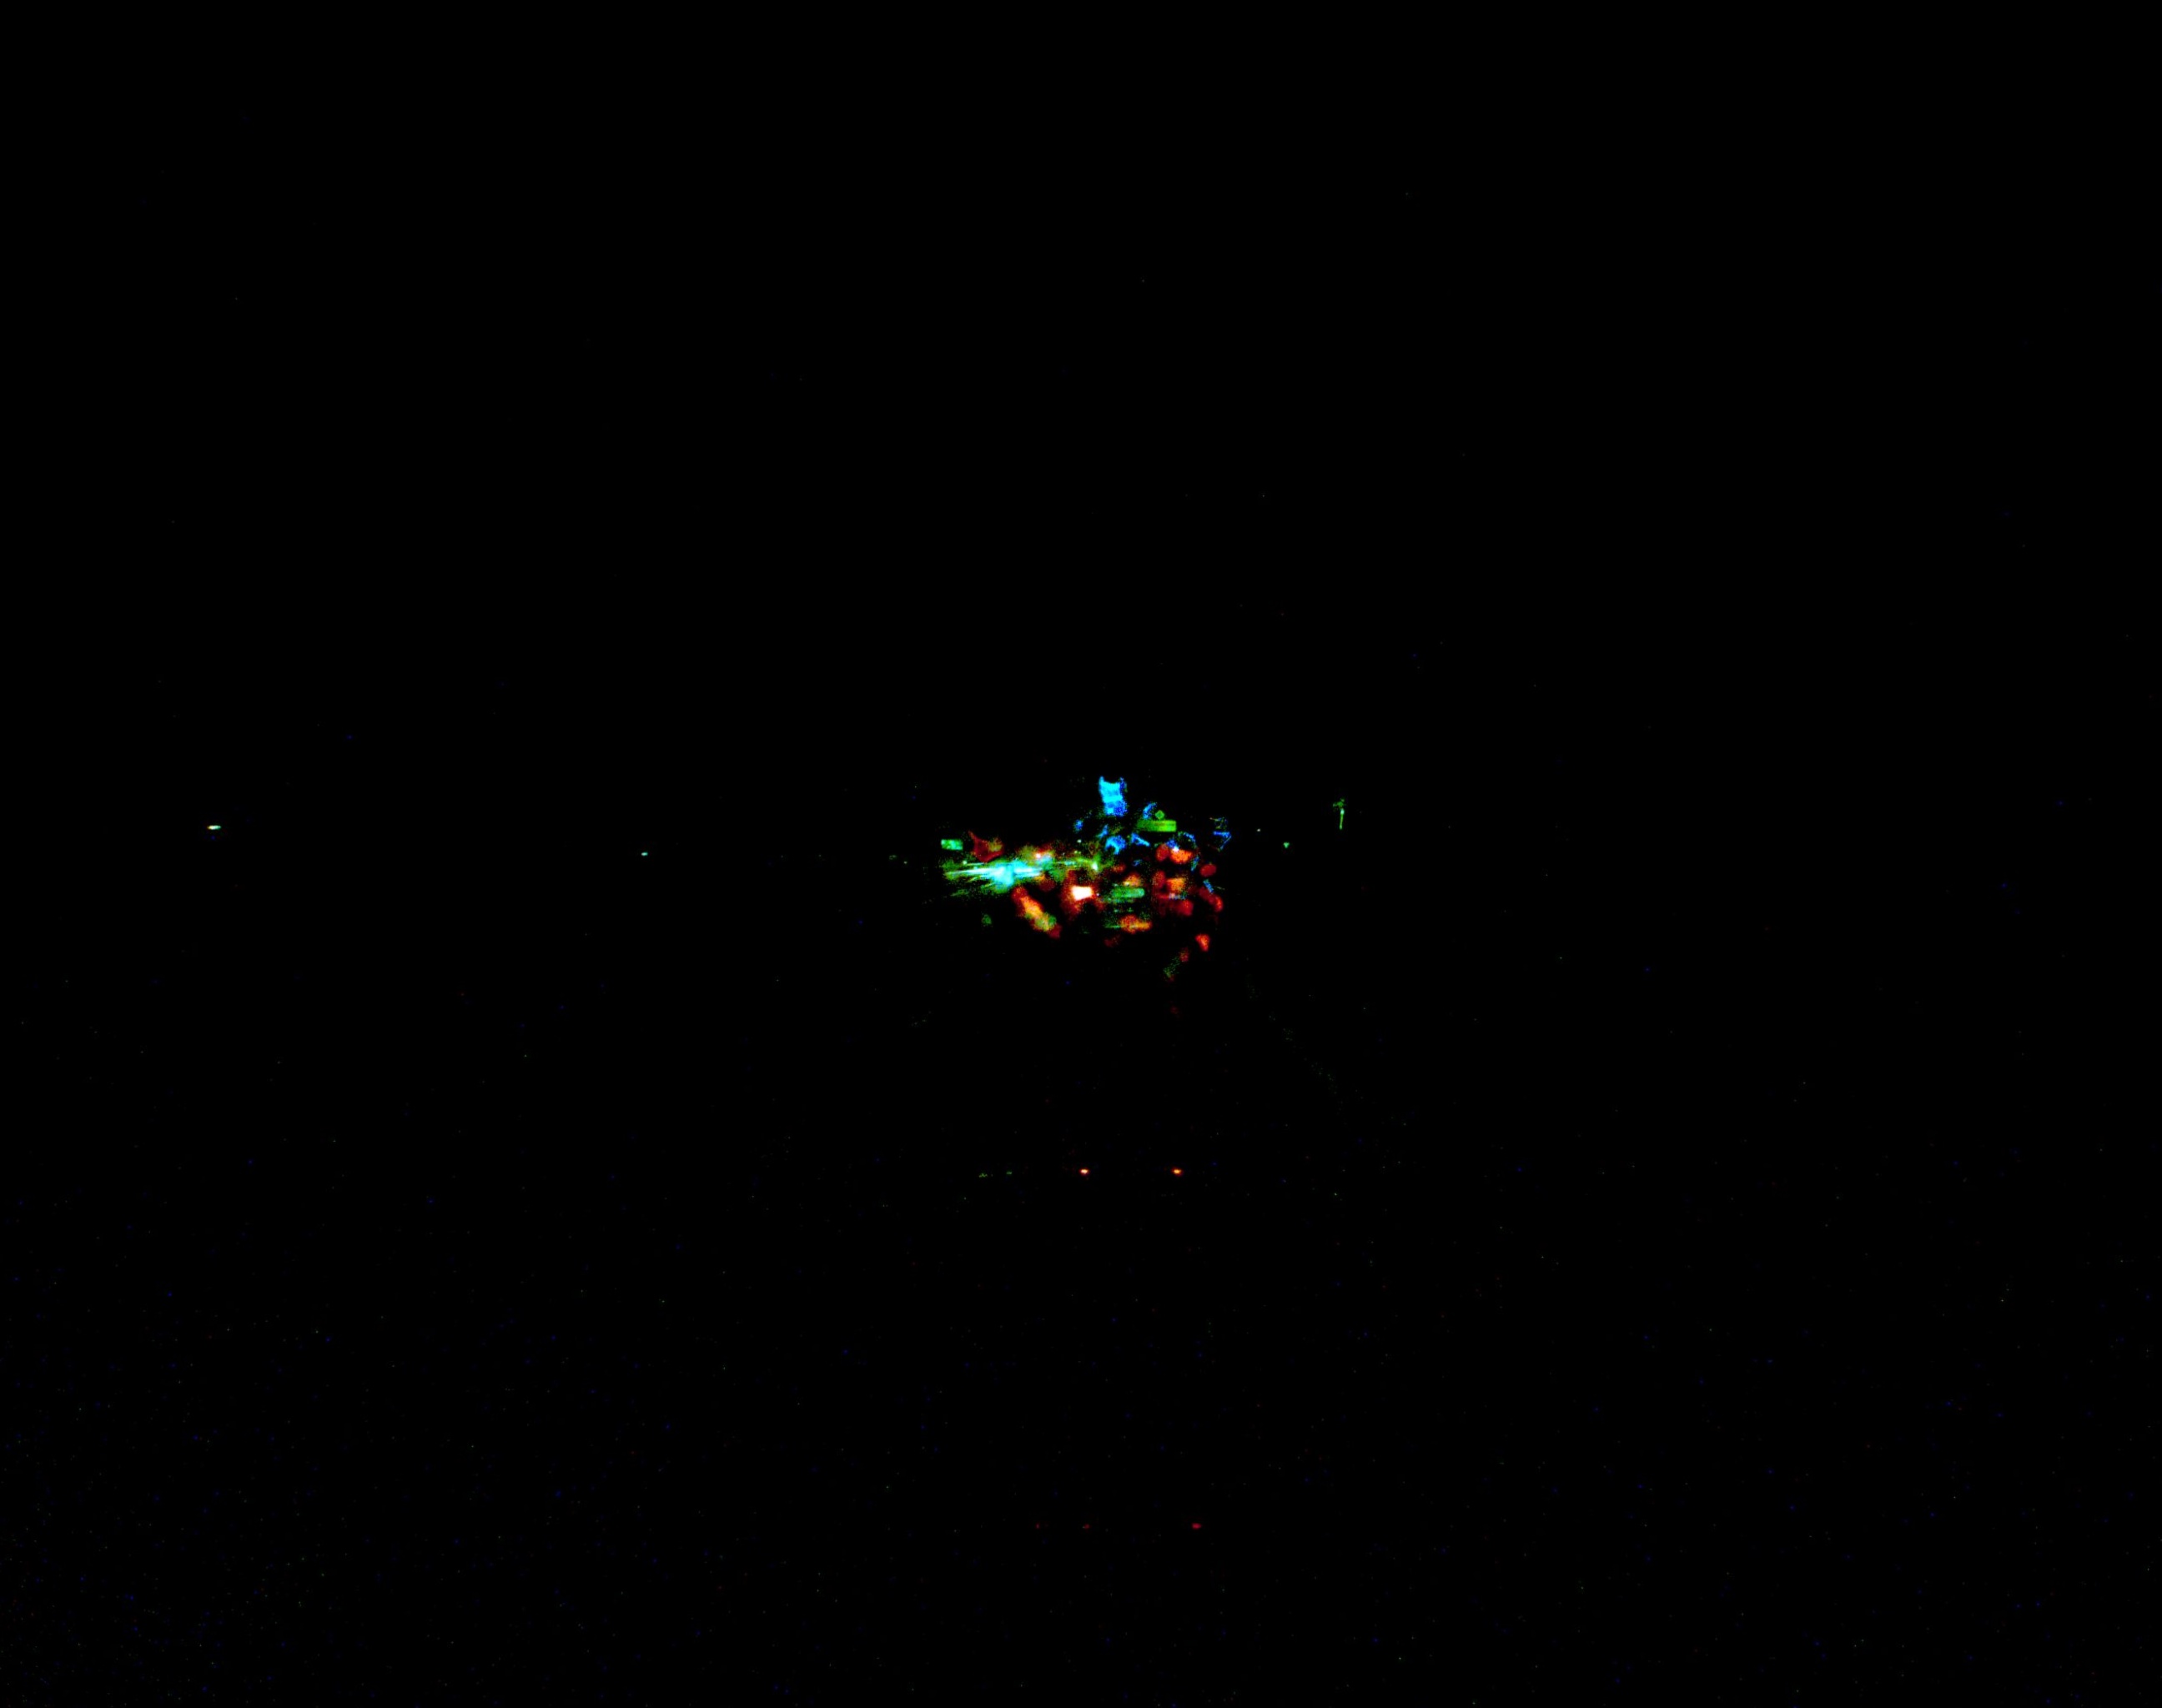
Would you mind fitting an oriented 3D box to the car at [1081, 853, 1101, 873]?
[{"bbox_3d":[1.052,1.016,88.446,1.988,2.014,3.996,-1,-3,-2],"label":"car"}]

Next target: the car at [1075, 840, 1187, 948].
[{"bbox_3d":[0.847,0.662,14.984,1.769,1.712,4.001,0,-1,1],"label":"car"}]
